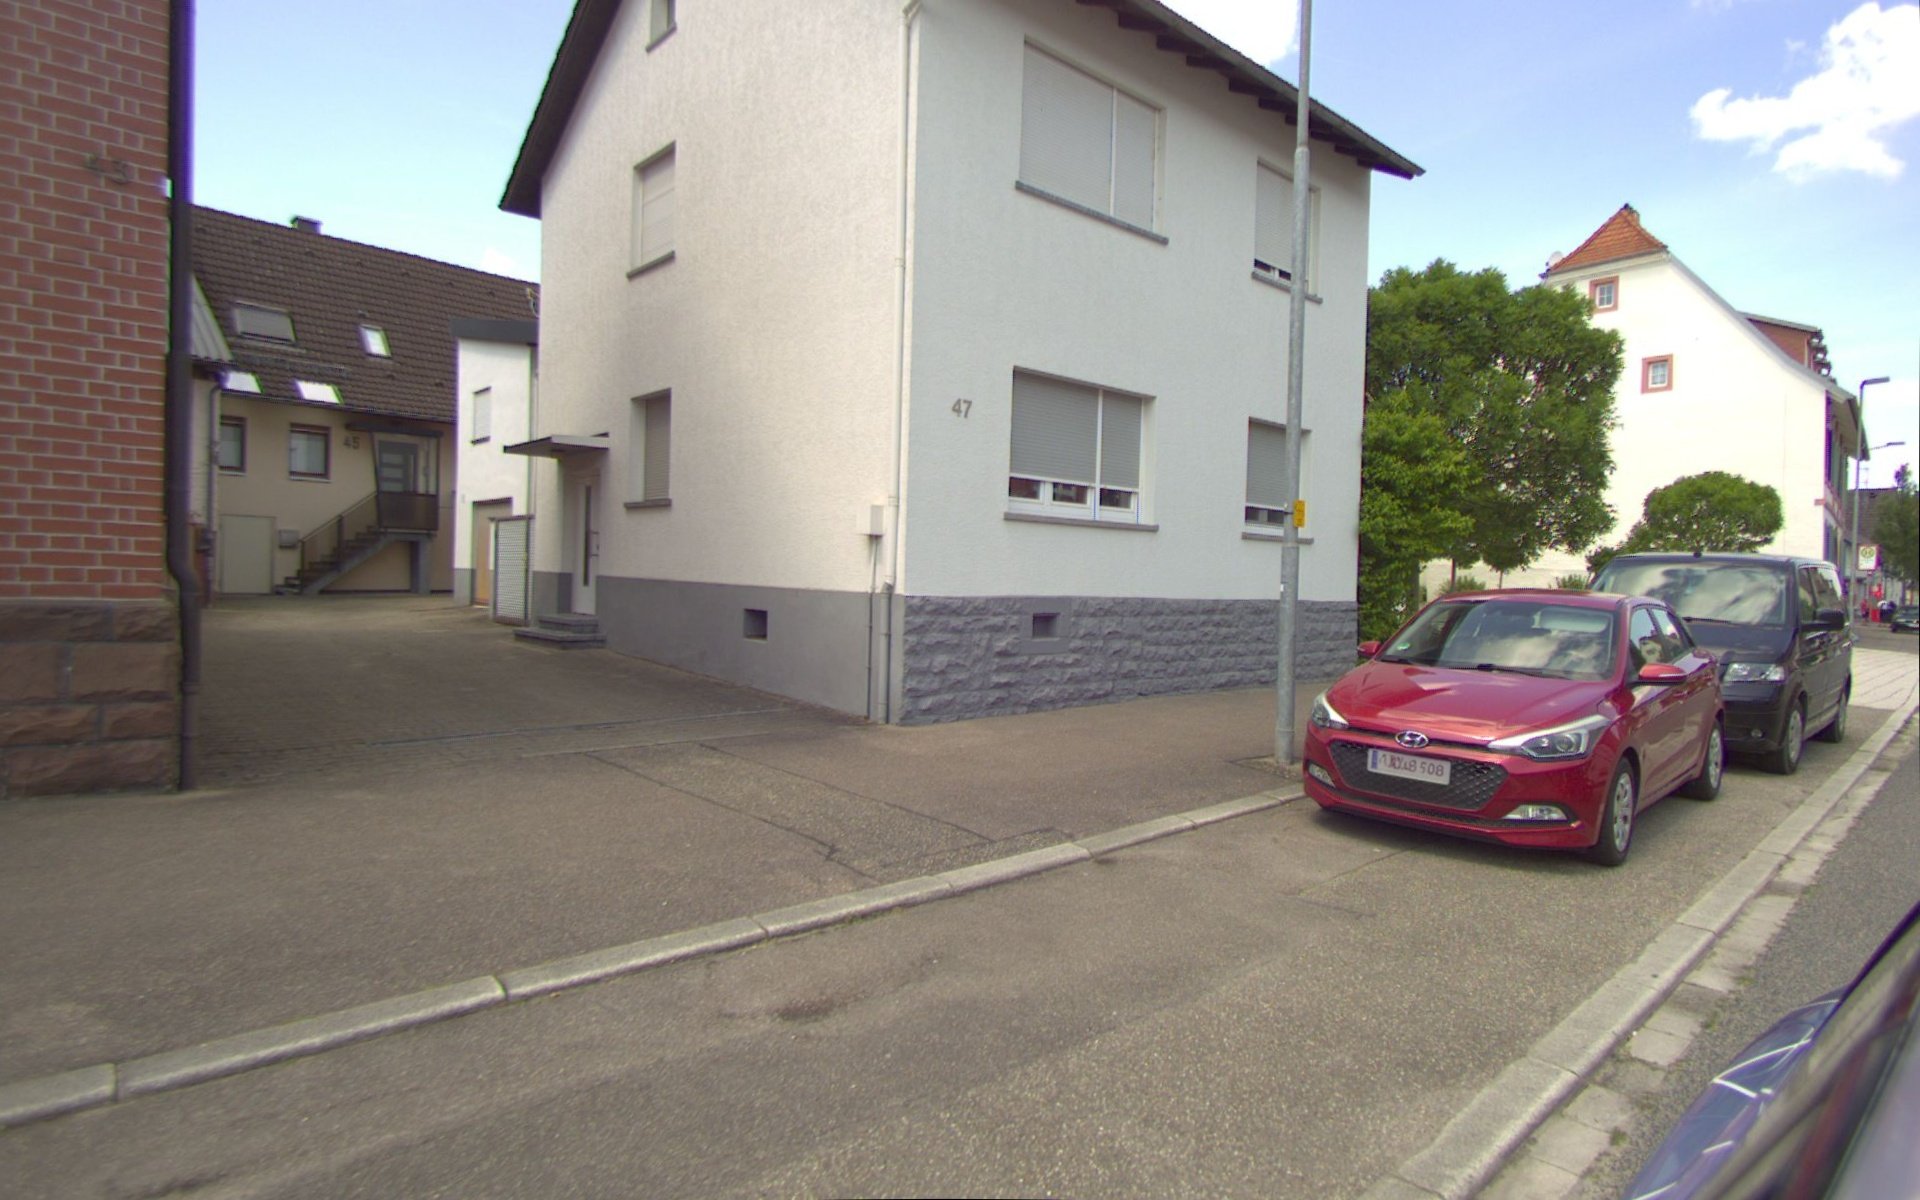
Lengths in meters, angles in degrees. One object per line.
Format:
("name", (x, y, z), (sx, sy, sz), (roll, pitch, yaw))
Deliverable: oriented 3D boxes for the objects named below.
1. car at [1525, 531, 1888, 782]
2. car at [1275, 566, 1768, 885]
("car", (7.735, 0.383, 10.248), (5.156, 1.939, 1.928), (-1, 1, -41))
("car", (4.128, 0.584, 7.036), (4.482, 1.522, 1.741), (0, 1, -44))
